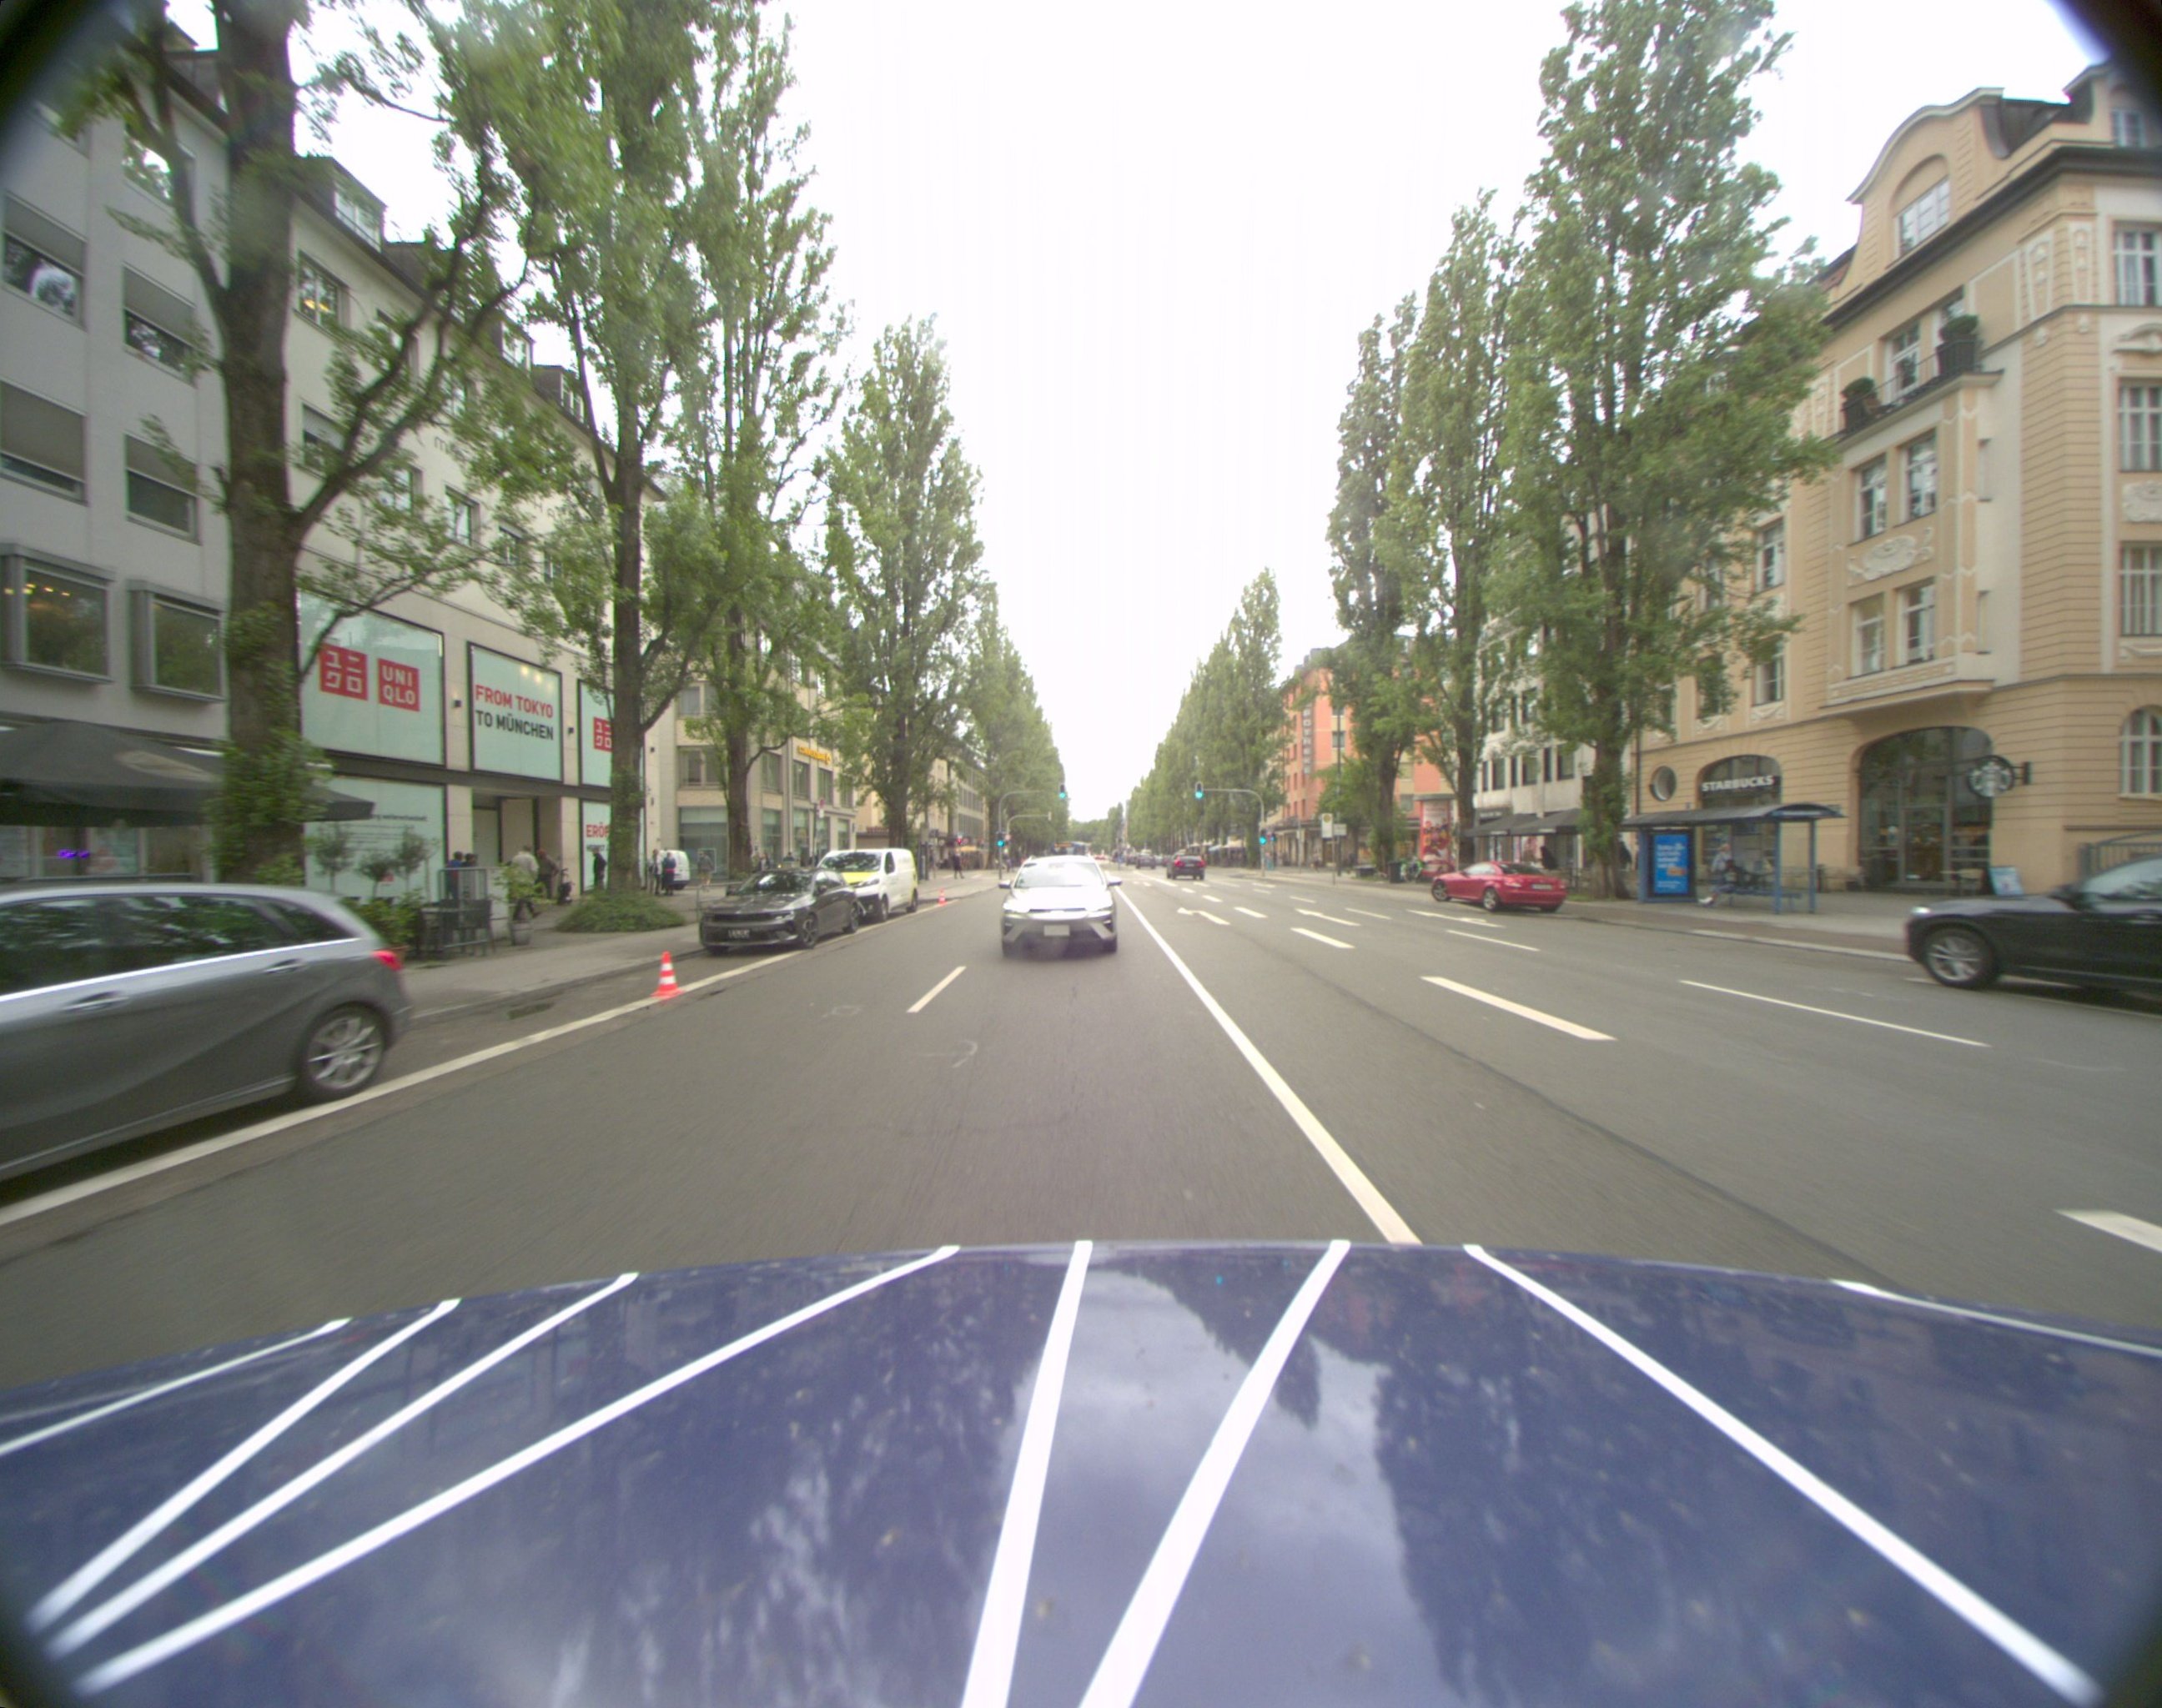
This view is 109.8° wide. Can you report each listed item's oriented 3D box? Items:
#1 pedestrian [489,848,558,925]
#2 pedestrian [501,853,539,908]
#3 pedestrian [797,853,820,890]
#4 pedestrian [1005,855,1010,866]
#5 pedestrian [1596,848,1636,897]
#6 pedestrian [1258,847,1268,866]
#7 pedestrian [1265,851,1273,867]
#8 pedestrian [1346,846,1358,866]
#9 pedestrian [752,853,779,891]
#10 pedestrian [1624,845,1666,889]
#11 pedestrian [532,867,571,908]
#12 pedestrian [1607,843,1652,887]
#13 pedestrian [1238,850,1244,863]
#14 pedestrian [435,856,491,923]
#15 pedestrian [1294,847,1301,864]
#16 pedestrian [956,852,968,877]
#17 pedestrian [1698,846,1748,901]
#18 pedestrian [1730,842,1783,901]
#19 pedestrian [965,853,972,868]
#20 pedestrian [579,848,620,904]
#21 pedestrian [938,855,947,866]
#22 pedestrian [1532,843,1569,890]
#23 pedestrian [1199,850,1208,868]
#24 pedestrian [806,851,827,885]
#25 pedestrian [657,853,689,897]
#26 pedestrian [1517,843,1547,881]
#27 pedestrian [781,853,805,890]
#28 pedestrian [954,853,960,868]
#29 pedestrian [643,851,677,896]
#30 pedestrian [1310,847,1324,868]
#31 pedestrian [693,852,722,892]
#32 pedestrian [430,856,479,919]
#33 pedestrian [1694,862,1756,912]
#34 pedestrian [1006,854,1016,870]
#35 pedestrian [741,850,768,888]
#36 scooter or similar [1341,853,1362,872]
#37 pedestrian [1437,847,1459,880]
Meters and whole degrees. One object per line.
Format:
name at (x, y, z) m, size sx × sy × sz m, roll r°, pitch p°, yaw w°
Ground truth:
pedestrian at (-13.646, 0.766, 18.619) m, size 0.828 × 1.830 × 1.099 m, roll -1°, pitch 1°, yaw 1°
pedestrian at (-16.617, 0.766, 22.531) m, size 0.673 × 1.600 × 0.827 m, roll -1°, pitch 1°, yaw -19°
pedestrian at (-13.242, 0.840, 36.937) m, size 0.752 × 1.748 × 0.859 m, roll -1°, pitch 3°, yaw 2°
pedestrian at (-11.722, 1.050, 120.822) m, size 0.658 × 1.840 × 0.906 m, roll -1°, pitch 1°, yaw 3°
pedestrian at (19.353, 0.674, 27.495) m, size 0.908 × 1.734 × 0.820 m, roll -1°, pitch 1°, yaw 6°
pedestrian at (17.235, 0.237, 71.963) m, size 0.726 × 1.761 × 0.778 m, roll -1°, pitch 1°, yaw 2°
pedestrian at (19.891, 0.489, 80.503) m, size 0.631 × 1.679 × 0.519 m, roll -2°, pitch 1°, yaw 2°
pedestrian at (23.300, 0.164, 65.271) m, size 0.780 × 1.756 × 0.692 m, roll -1°, pitch 1°, yaw 1°
pedestrian at (-14.315, 0.806, 34.486) m, size 0.752 × 1.667 × 0.963 m, roll 0°, pitch 1°, yaw 2°
pedestrian at (20.303, 0.455, 27.365) m, size 0.752 × 1.558 × 0.989 m, roll -2°, pitch 1°, yaw 3°
pedestrian at (-16.759, 1.062, 24.061) m, size 0.671 × 1.227 × 0.684 m, roll -2°, pitch 1°, yaw 2°
pedestrian at (21.931, 0.429, 30.406) m, size 1.084 × 1.675 × 0.989 m, roll -2°, pitch 1°, yaw 2°
pedestrian at (20.898, 0.357, 99.187) m, size 0.556 × 1.708 × 0.692 m, roll -1°, pitch 1°, yaw 0°
pedestrian at (-15.336, 0.858, 18.874) m, size 0.671 × 1.600 × 0.771 m, roll -2°, pitch 1°, yaw 4°
pedestrian at (22.081, 0.166, 77.503) m, size 0.588 × 1.681 × 0.514 m, roll 0°, pitch 1°, yaw 1°
pedestrian at (-8.537, 0.732, 54.602) m, size 0.710 × 1.748 × 0.752 m, roll -1°, pitch 1°, yaw 2°
pedestrian at (20.238, 0.606, 23.976) m, size 0.734 × 1.672 × 0.977 m, roll -2°, pitch 1°, yaw 1°
pedestrian at (21.252, 0.546, 23.916) m, size 0.802 × 1.777 × 0.912 m, roll -2°, pitch 1°, yaw 1°
pedestrian at (-12.525, 0.682, 84.488) m, size 0.541 × 1.664 × 0.537 m, roll -1°, pitch 1°, yaw 8°
pedestrian at (-15.327, 0.692, 24.205) m, size 0.683 × 1.754 × 0.868 m, roll -1°, pitch 1°, yaw 6°
pedestrian at (-15.387, 0.738, 84.431) m, size 0.777 × 1.257 × 0.699 m, roll -1°, pitch 1°, yaw 1°
pedestrian at (17.485, 0.462, 28.302) m, size 0.908 × 1.733 × 0.821 m, roll 0°, pitch 0°, yaw 6°
pedestrian at (12.430, 0.538, 77.176) m, size 0.736 × 1.785 × 0.994 m, roll -2°, pitch 1°, yaw 19°
pedestrian at (-14.328, 0.743, 41.193) m, size 0.820 × 1.807 × 0.890 m, roll 0°, pitch 1°, yaw -1°
pedestrian at (-15.691, 0.792, 29.264) m, size 0.653 × 1.653 × 0.963 m, roll -1°, pitch 1°, yaw 1°
pedestrian at (21.569, 0.372, 36.379) m, size 0.845 × 1.734 × 0.954 m, roll -2°, pitch 1°, yaw 2°
pedestrian at (-14.023, 0.867, 37.024) m, size 0.752 × 1.748 × 0.859 m, roll -1°, pitch 3°, yaw 2°
pedestrian at (-13.733, 0.670, 84.024) m, size 0.541 × 1.664 × 0.537 m, roll -1°, pitch 1°, yaw 8°
pedestrian at (-16.443, 0.754, 29.722) m, size 0.752 × 1.708 × 0.963 m, roll 0°, pitch 1°, yaw 1°
pedestrian at (18.432, 0.253, 59.444) m, size 0.780 × 1.609 × 0.934 m, roll -1°, pitch 1°, yaw 0°
pedestrian at (-15.667, 0.745, 31.861) m, size 0.827 × 1.664 × 0.984 m, roll -1°, pitch 1°, yaw -40°
pedestrian at (-16.032, 0.846, 19.456) m, size 0.671 × 1.600 × 0.684 m, roll 0°, pitch 1°, yaw 8°
pedestrian at (16.854, 0.854, 19.904) m, size 0.963 × 1.249 × 0.757 m, roll -1°, pitch 1°, yaw 2°
pedestrian at (-7.015, 0.811, 76.033) m, size 0.767 × 1.509 × 0.620 m, roll 2°, pitch 4°, yaw 45°
pedestrian at (-15.062, 0.698, 35.058) m, size 0.752 × 1.708 × 0.963 m, roll -1°, pitch 1°, yaw 2°
scooter or similar at (19.182, 0.609, 53.897) m, size 1.362 × 1.331 × 0.439 m, roll -1°, pitch 1°, yaw 21°
pedestrian at (19.892, 0.504, 41.174) m, size 0.729 × 1.730 × 0.942 m, roll -2°, pitch 1°, yaw 0°
